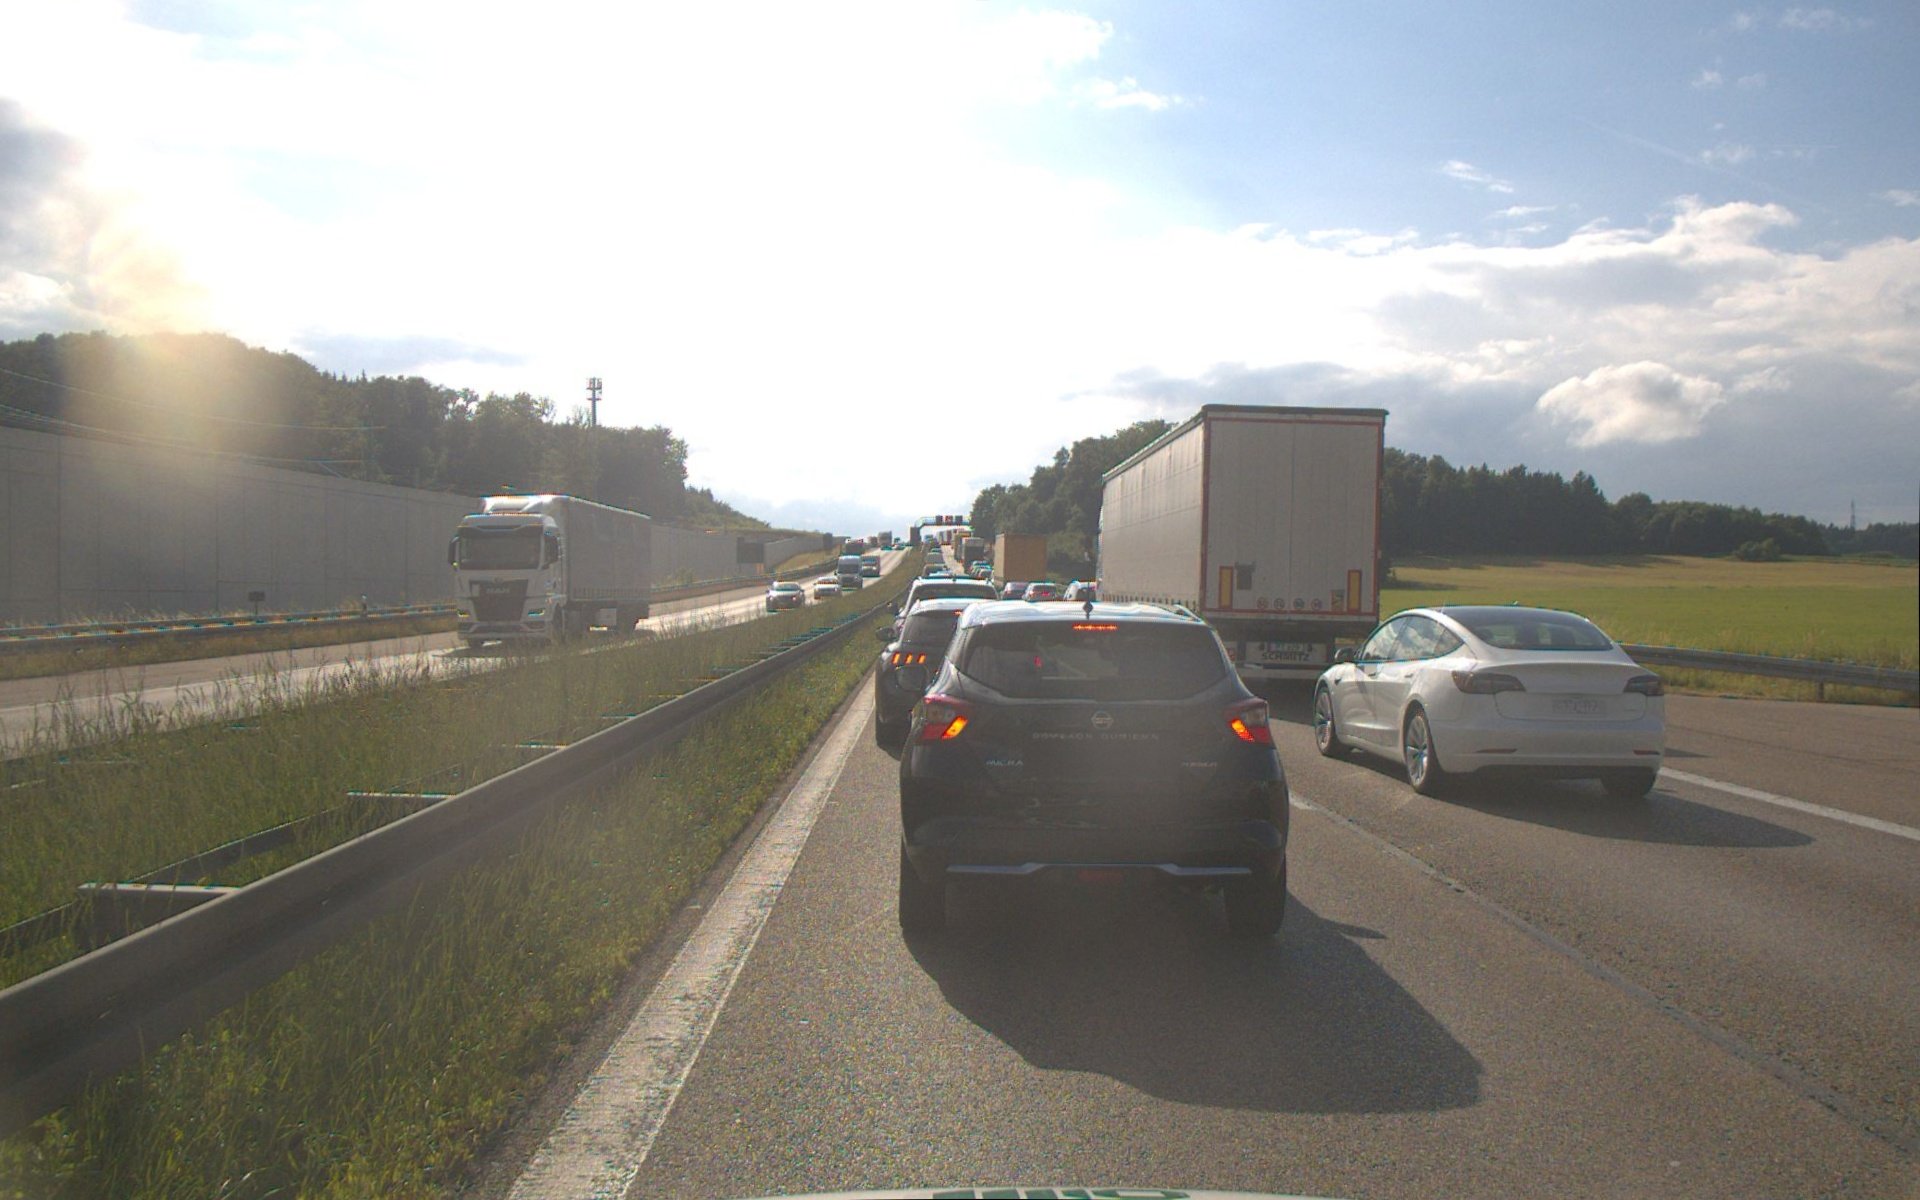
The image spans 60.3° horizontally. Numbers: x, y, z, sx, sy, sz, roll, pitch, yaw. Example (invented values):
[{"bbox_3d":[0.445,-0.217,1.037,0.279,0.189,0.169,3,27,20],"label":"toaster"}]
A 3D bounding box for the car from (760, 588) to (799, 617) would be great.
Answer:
[{"bbox_3d":[-9.155,0.120,83.988,1.618,1.476,3.955,0,0,-1],"label":"car"}]

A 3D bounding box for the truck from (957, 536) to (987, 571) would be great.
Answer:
[{"bbox_3d":[1.594,-6.421,227.512,3.395,4.656,12.437,1,1,-2],"label":"truck"}]

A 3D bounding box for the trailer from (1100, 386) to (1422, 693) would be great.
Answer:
[{"bbox_3d":[4.618,-0.725,28.886,3.067,4.081,13.364,1,-1,0],"label":"trailer"}]

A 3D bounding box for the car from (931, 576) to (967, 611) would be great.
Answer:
[{"bbox_3d":[-0.577,-0.375,84.853,1.835,1.673,4.232,0,2,-1],"label":"car"}]

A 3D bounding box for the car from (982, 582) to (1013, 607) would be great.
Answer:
[{"bbox_3d":[2.589,-0.415,113.788,1.836,1.673,4.230,0,1,-3],"label":"car"}]

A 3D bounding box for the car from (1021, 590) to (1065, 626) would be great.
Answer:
[{"bbox_3d":[3.962,0.379,79.628,1.835,1.673,4.231,0,0,-1],"label":"car"}]

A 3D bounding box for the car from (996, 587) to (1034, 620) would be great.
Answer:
[{"bbox_3d":[2.945,0.168,89.067,1.835,1.673,4.232,0,1,-1],"label":"car"}]

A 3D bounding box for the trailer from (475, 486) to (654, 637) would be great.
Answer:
[{"bbox_3d":[-12.349,-1.091,53.172,2.734,4.148,13.516,-1,0,-1],"label":"trailer"}]

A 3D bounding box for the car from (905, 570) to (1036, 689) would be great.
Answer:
[{"bbox_3d":[0.121,0.413,25.383,1.835,1.673,4.231,0,0,-1],"label":"car"}]

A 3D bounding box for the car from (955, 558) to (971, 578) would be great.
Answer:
[{"bbox_3d":[0.388,-3.942,202.108,1.835,2.196,5.211,0,3,-1],"label":"car"}]

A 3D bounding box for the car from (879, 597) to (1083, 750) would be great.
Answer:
[{"bbox_3d":[0.164,0.658,17.038,1.835,1.381,4.231,0,0,-1],"label":"car"}]

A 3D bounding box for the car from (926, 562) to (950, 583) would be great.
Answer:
[{"bbox_3d":[-1.785,-2.216,132.808,1.835,1.673,4.231,0,2,-2],"label":"car"}]

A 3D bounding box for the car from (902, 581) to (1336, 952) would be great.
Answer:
[{"bbox_3d":[0.609,0.660,8.719,1.737,1.476,4.231,0,0,-1],"label":"car"}]

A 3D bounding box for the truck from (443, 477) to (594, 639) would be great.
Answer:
[{"bbox_3d":[-12.153,-1.102,45.992,2.720,4.159,5.530,-2,0,-1],"label":"truck"}]

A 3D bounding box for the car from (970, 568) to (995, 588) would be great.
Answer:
[{"bbox_3d":[1.927,-1.912,144.775,1.836,1.673,4.229,0,2,-4],"label":"car"}]

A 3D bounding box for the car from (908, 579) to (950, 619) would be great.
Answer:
[{"bbox_3d":[-1.385,-0.071,74.389,1.835,1.673,4.232,0,1,-1],"label":"car"}]

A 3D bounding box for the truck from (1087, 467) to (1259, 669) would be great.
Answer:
[{"bbox_3d":[4.569,-0.627,36.518,3.069,4.086,5.163,1,-1,-1],"label":"truck"}]

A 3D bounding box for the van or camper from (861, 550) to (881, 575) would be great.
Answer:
[{"bbox_3d":[-10.311,-4.345,192.196,2.207,2.751,7.168,0,0,-2],"label":"van or camper"}]

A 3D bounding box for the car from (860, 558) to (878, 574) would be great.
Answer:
[{"bbox_3d":[-10.205,-3.819,186.421,1.872,1.700,4.361,0,1,-2],"label":"car"}]

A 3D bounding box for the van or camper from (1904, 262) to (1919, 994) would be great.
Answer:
[{"bbox_3d":[4.702,0.112,3.122,2.170,2.728,6.331,0,0,-1],"label":"van or camper"}]

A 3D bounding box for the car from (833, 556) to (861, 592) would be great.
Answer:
[{"bbox_3d":[-9.411,-2.127,137.732,2.061,2.920,5.635,0,0,-1],"label":"car"}]

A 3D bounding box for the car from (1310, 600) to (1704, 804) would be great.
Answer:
[{"bbox_3d":[4.375,0.726,14.013,1.752,1.418,4.435,0,0,-2],"label":"car"}]

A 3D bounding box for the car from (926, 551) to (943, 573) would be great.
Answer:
[{"bbox_3d":[-2.758,-4.126,176.642,1.835,2.196,5.211,0,3,-1],"label":"car"}]

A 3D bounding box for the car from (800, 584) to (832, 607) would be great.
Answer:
[{"bbox_3d":[-9.573,-0.304,110.451,1.835,1.476,4.231,0,0,-1],"label":"car"}]

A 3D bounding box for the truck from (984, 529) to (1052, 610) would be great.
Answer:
[{"bbox_3d":[3.477,-1.749,102.685,3.230,4.657,12.434,1,0,-2],"label":"truck"}]

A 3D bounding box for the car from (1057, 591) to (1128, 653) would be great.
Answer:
[{"bbox_3d":[3.661,0.588,46.318,1.663,1.639,4.436,0,0,0],"label":"car"}]
